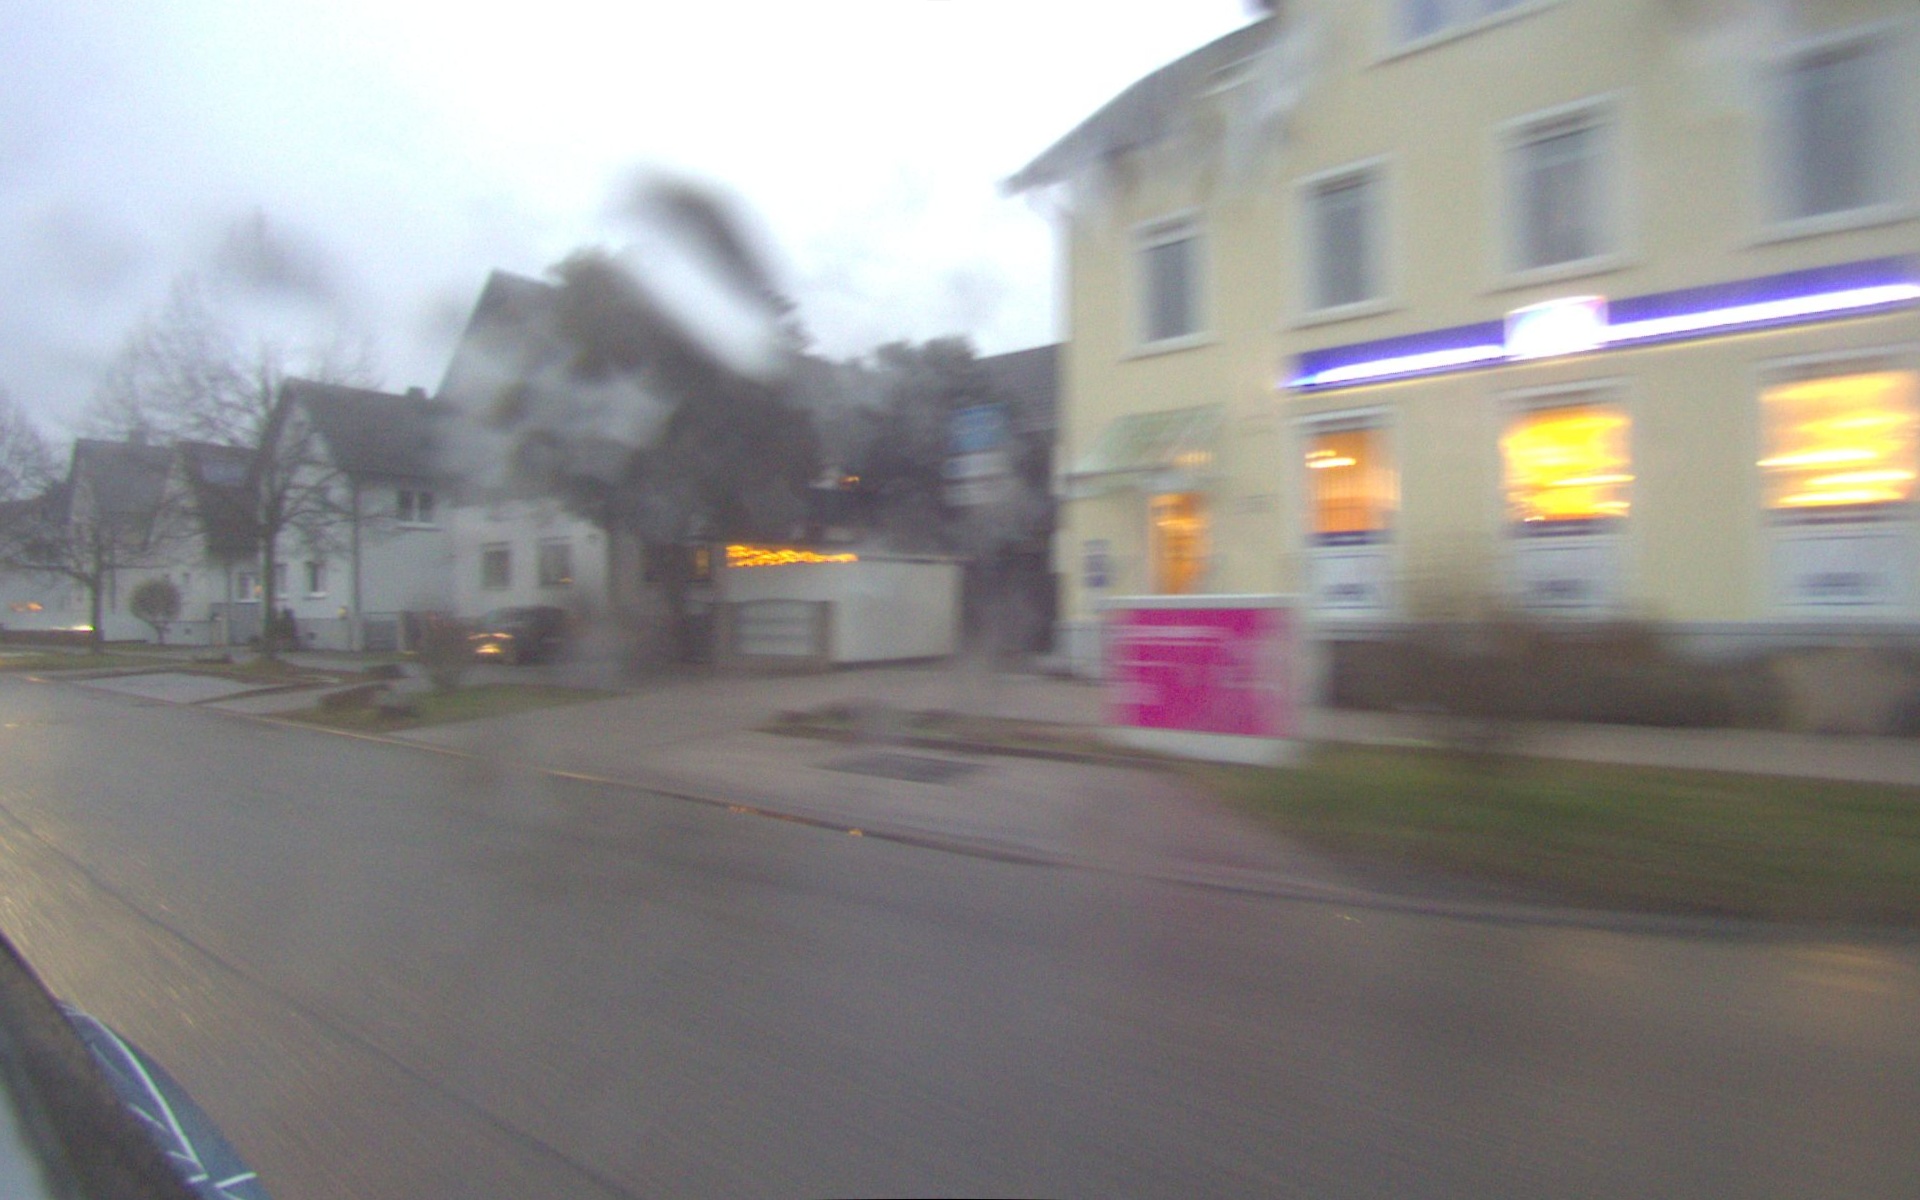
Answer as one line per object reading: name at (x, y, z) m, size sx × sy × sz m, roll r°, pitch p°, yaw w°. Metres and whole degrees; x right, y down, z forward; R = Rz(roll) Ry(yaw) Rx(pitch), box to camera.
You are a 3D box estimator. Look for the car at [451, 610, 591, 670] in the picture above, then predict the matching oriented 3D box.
car at (-11.328, 0.969, 26.003) m, size 3.998 × 1.376 × 1.763 m, roll -1°, pitch 0°, yaw 41°
